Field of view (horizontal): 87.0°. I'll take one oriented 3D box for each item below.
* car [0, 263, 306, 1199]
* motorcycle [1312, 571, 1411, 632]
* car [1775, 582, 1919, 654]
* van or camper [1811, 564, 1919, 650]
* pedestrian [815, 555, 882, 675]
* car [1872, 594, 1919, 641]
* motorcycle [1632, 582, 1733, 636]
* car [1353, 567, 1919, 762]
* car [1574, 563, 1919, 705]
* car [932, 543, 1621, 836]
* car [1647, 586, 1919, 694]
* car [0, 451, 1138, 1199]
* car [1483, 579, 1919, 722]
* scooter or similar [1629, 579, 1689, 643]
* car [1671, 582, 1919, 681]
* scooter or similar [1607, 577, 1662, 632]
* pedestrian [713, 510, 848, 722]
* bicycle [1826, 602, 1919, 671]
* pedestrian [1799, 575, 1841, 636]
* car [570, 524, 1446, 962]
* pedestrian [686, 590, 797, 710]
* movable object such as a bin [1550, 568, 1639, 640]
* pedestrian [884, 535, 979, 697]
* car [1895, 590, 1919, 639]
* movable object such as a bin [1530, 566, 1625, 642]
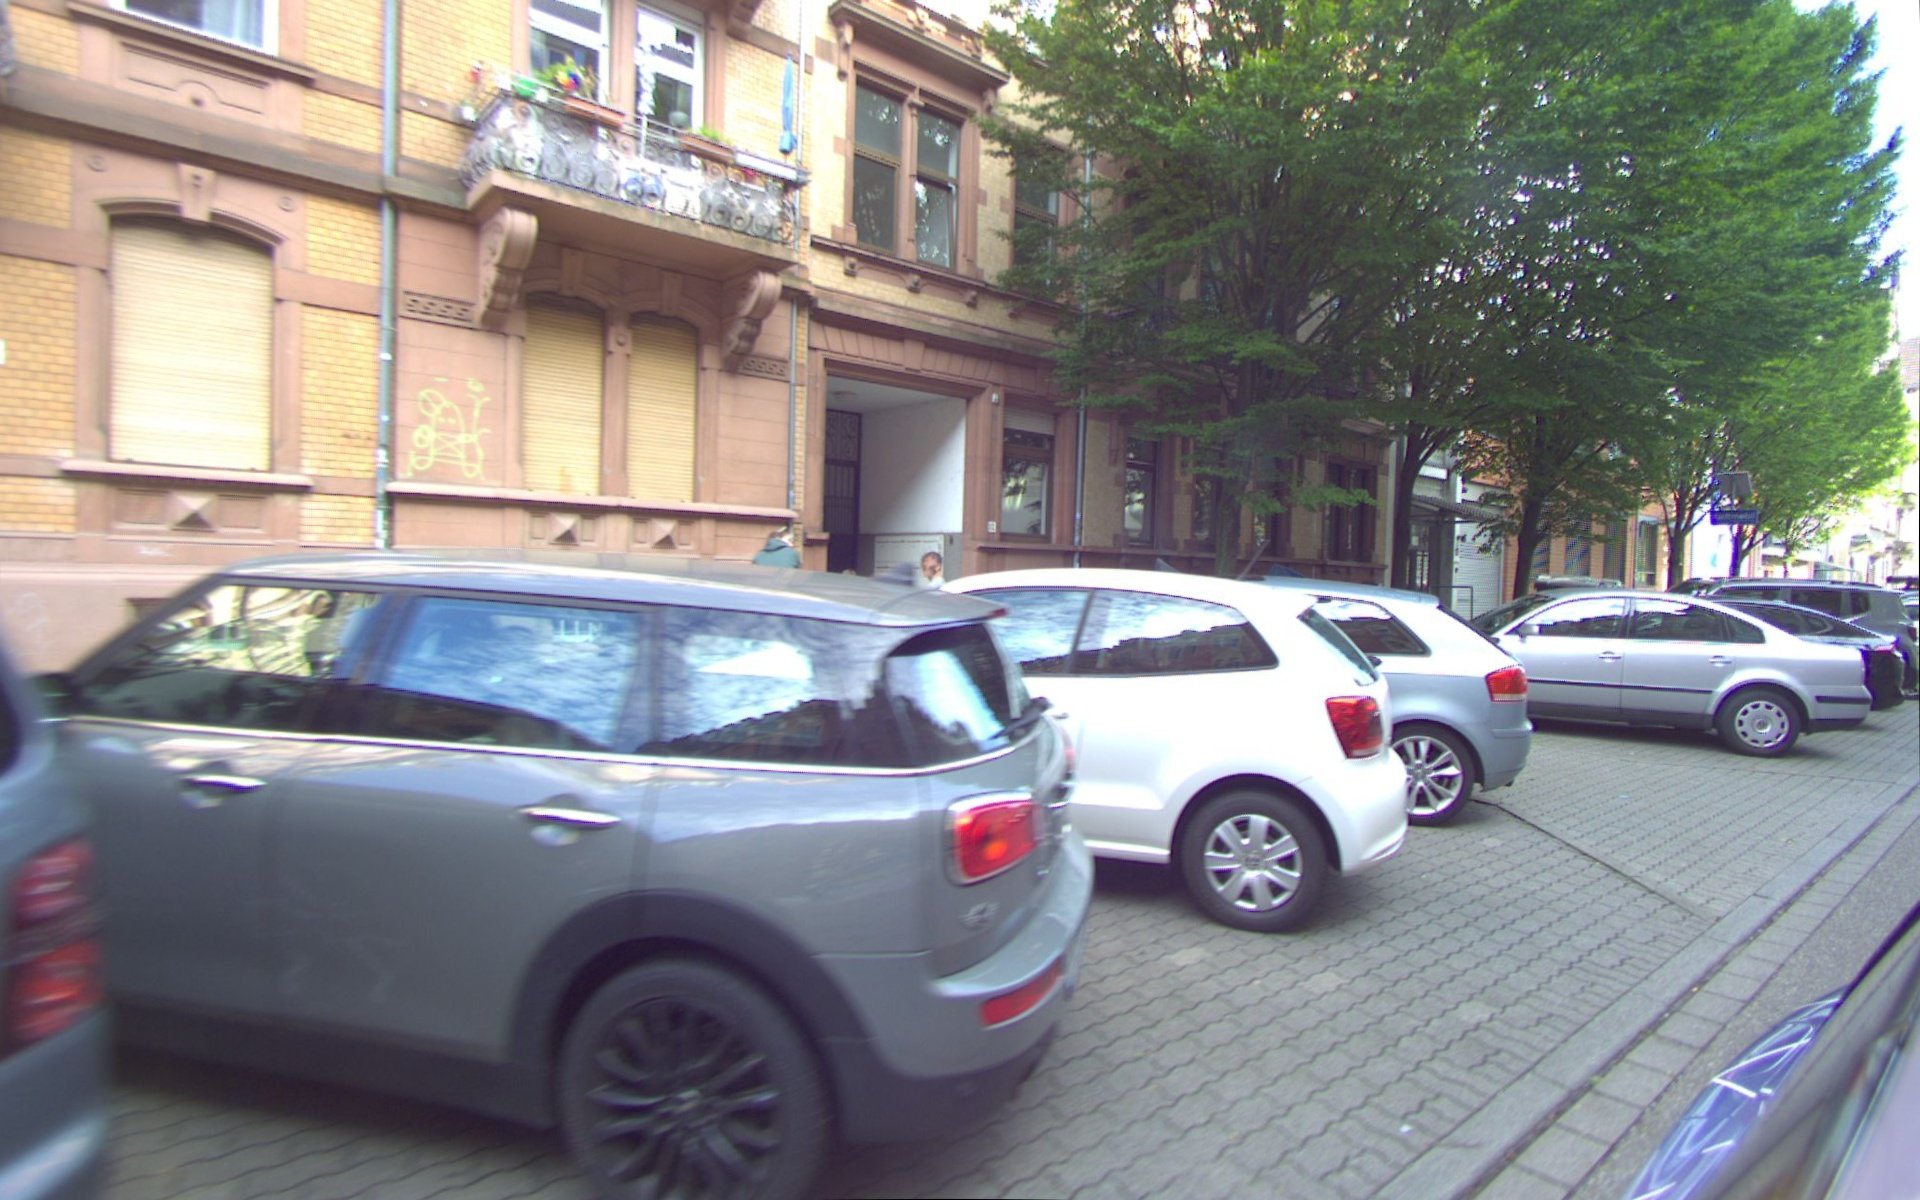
[{"bbox_3d":[-3.219,0.380,1.433,3.950,1.762,1.828,3,2,19],"label":"car"},{"bbox_3d":[8.321,0.016,20.930,2.448,1.202,0.895,0,1,-41],"label":"motorcycle"},{"bbox_3d":[23.339,0.484,24.824,4.745,1.562,1.861,4,3,18],"label":"car"},{"bbox_3d":[25.188,0.178,26.512,3.950,2.206,1.987,1,0,20],"label":"van or camper"},{"bbox_3d":[-1.237,0.154,11.330,0.562,1.296,0.718,0,1,11],"label":"pedestrian"},{"bbox_3d":[33.318,0.603,33.629,3.948,1.527,1.988,1,1,19],"label":"car"},{"bbox_3d":[19.371,0.222,27.158,0.813,1.241,1.984,0,5,-42],"label":"motorcycle"},{"bbox_3d":[6.554,0.517,10.340,4.552,1.469,1.783,4,3,18],"label":"car"},{"bbox_3d":[11.262,0.425,14.327,3.943,1.720,1.844,2,1,15],"label":"car"},{"bbox_3d":[1.967,0.431,7.086,3.942,1.478,1.880,3,4,14],"label":"car"},{"bbox_3d":[13.543,0.580,15.928,4.064,1.539,1.838,1,2,14],"label":"car"},{"bbox_3d":[-1.504,0.433,3.272,3.941,1.567,1.862,4,2,13],"label":"car"},{"bbox_3d":[8.938,0.538,12.447,4.078,1.435,1.861,2,1,15],"label":"car"},{"bbox_3d":[15.513,0.236,22.453,1.294,1.397,0.525,0,0,-26],"label":"scooter or similar"},{"bbox_3d":[15.251,0.530,17.926,3.956,1.456,1.712,4,3,23],"label":"car"},{"bbox_3d":[17.869,0.102,26.845,0.515,1.329,1.321,4,4,4],"label":"scooter or similar"},{"bbox_3d":[-1.498,0.099,8.440,0.819,1.654,0.732,-1,3,-43],"label":"pedestrian"},{"bbox_3d":[17.600,0.671,19.408,0.690,1.227,1.744,0,1,10],"label":"bicycle"},{"bbox_3d":[25.972,0.156,30.562,0.937,1.759,0.753,0,5,-45],"label":"pedestrian"},{"bbox_3d":[0.181,0.462,5.303,3.948,1.467,1.727,5,4,18],"label":"car"},{"bbox_3d":[-1.926,0.416,8.935,0.782,0.973,0.554,-1,4,-43],"label":"pedestrian"},{"bbox_3d":[14.653,0.073,23.381,1.020,1.462,1.375,0,7,-42],"label":"movable object such as a bin"},{"bbox_3d":[-0.269,0.138,10.159,0.709,1.521,1.000,2,1,12],"label":"pedestrian"},{"bbox_3d":[35.606,0.523,35.274,3.948,1.694,1.916,1,0,19],"label":"car"},{"bbox_3d":[13.822,0.067,22.655,1.144,1.476,1.375,0,9,-42],"label":"movable object such as a bin"}]
